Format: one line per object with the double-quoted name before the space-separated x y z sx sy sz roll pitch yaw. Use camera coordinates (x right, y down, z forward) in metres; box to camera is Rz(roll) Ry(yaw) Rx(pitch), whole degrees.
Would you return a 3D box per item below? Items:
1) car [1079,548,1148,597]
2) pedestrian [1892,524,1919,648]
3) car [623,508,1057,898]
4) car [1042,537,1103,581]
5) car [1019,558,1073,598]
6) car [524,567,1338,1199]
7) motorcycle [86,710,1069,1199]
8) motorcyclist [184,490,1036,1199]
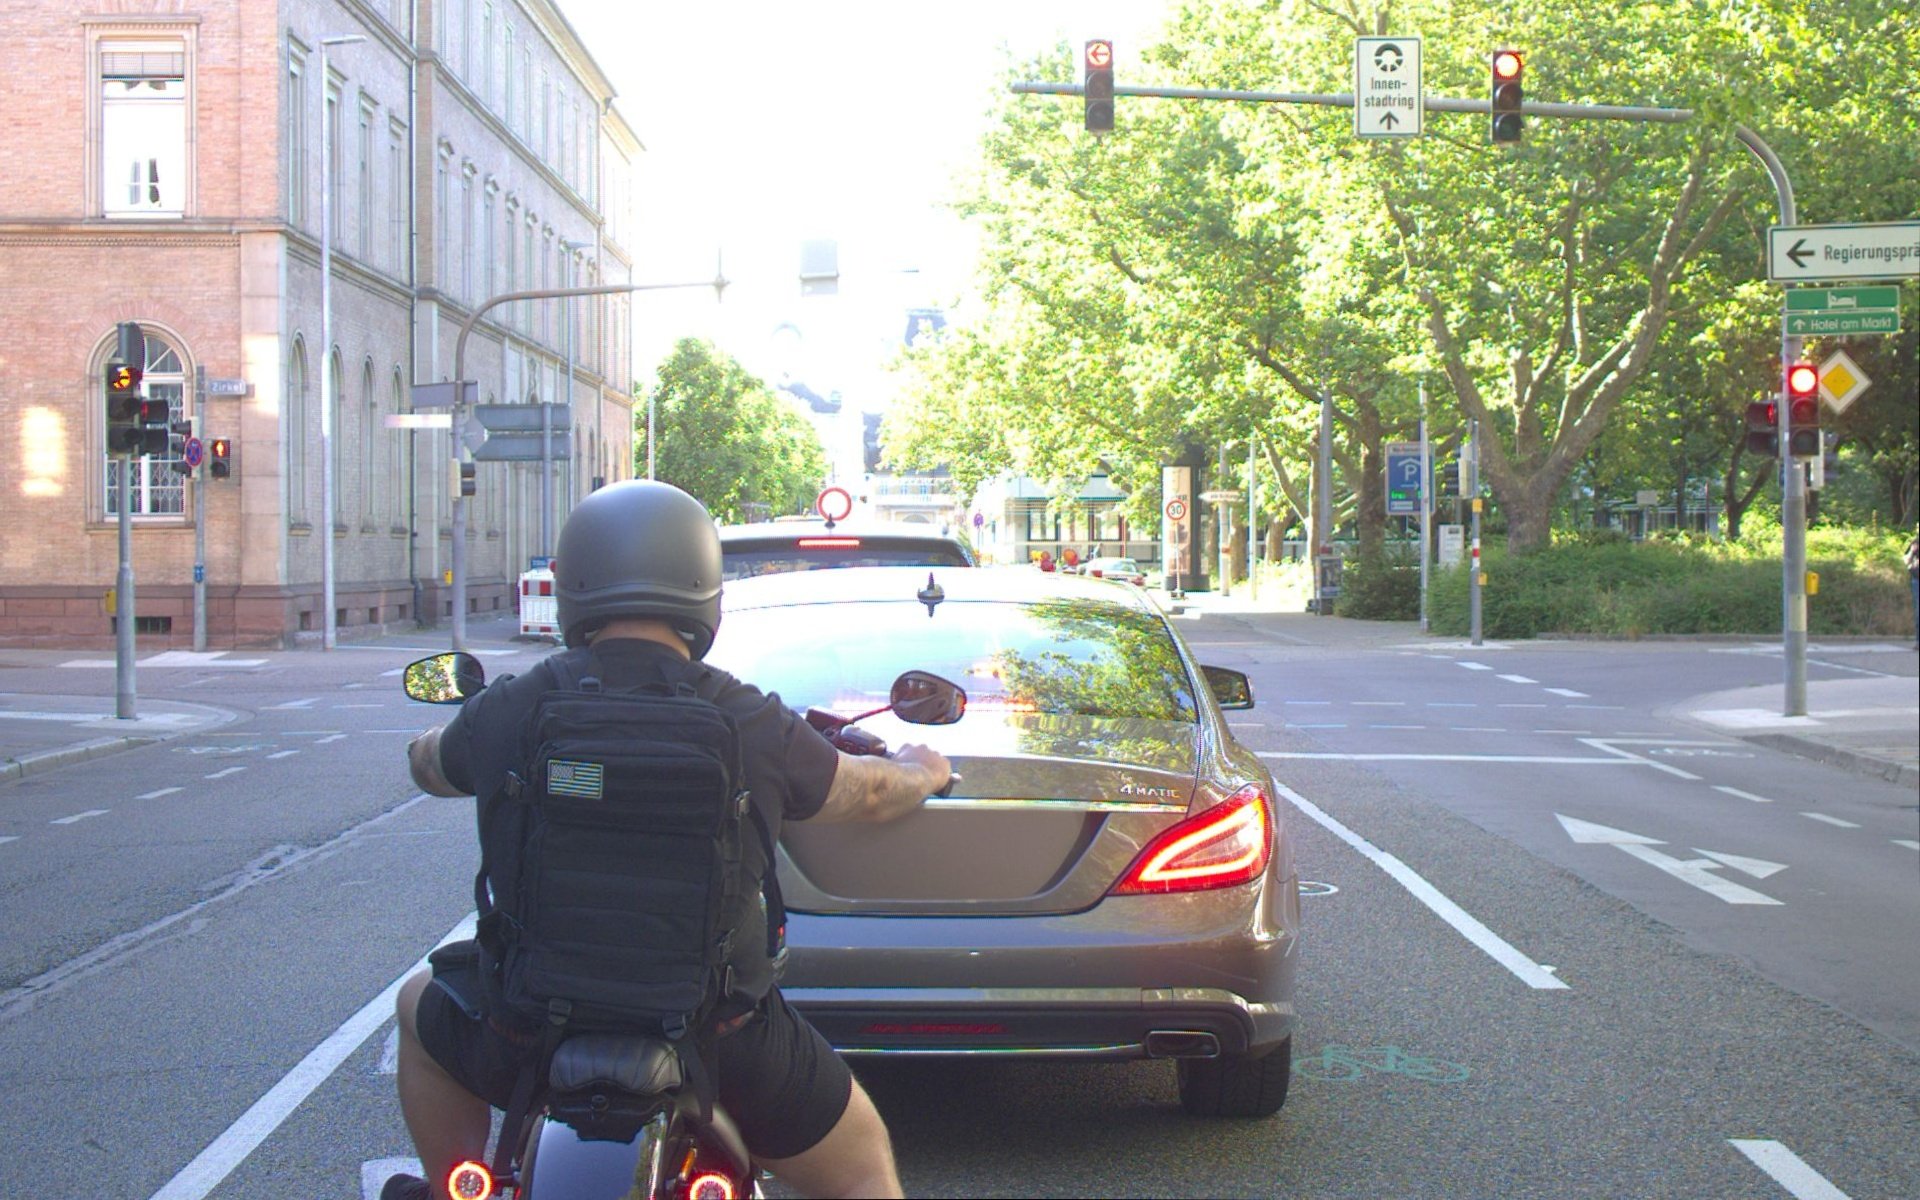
"car" 4.116 -0.749 92.449 1.631 1.255 3.716 1 1 -1
"pedestrian" 13.885 -0.198 49.439 0.737 1.772 0.728 1 0 30
"car" -0.545 0.428 16.955 1.863 1.672 4.000 1 1 -1
"car" 3.314 -1.201 101.877 1.631 1.255 3.716 1 1 -1
"car" 2.809 -0.721 112.566 1.631 1.255 3.716 1 1 -1
"car" -0.086 0.635 9.678 1.822 1.432 3.806 1 1 -1
"motorcycle" -0.469 0.833 5.513 1.118 1.203 2.212 1 1 6
"motorcyclist" -0.484 0.630 5.290 1.099 1.560 1.071 1 0 6
